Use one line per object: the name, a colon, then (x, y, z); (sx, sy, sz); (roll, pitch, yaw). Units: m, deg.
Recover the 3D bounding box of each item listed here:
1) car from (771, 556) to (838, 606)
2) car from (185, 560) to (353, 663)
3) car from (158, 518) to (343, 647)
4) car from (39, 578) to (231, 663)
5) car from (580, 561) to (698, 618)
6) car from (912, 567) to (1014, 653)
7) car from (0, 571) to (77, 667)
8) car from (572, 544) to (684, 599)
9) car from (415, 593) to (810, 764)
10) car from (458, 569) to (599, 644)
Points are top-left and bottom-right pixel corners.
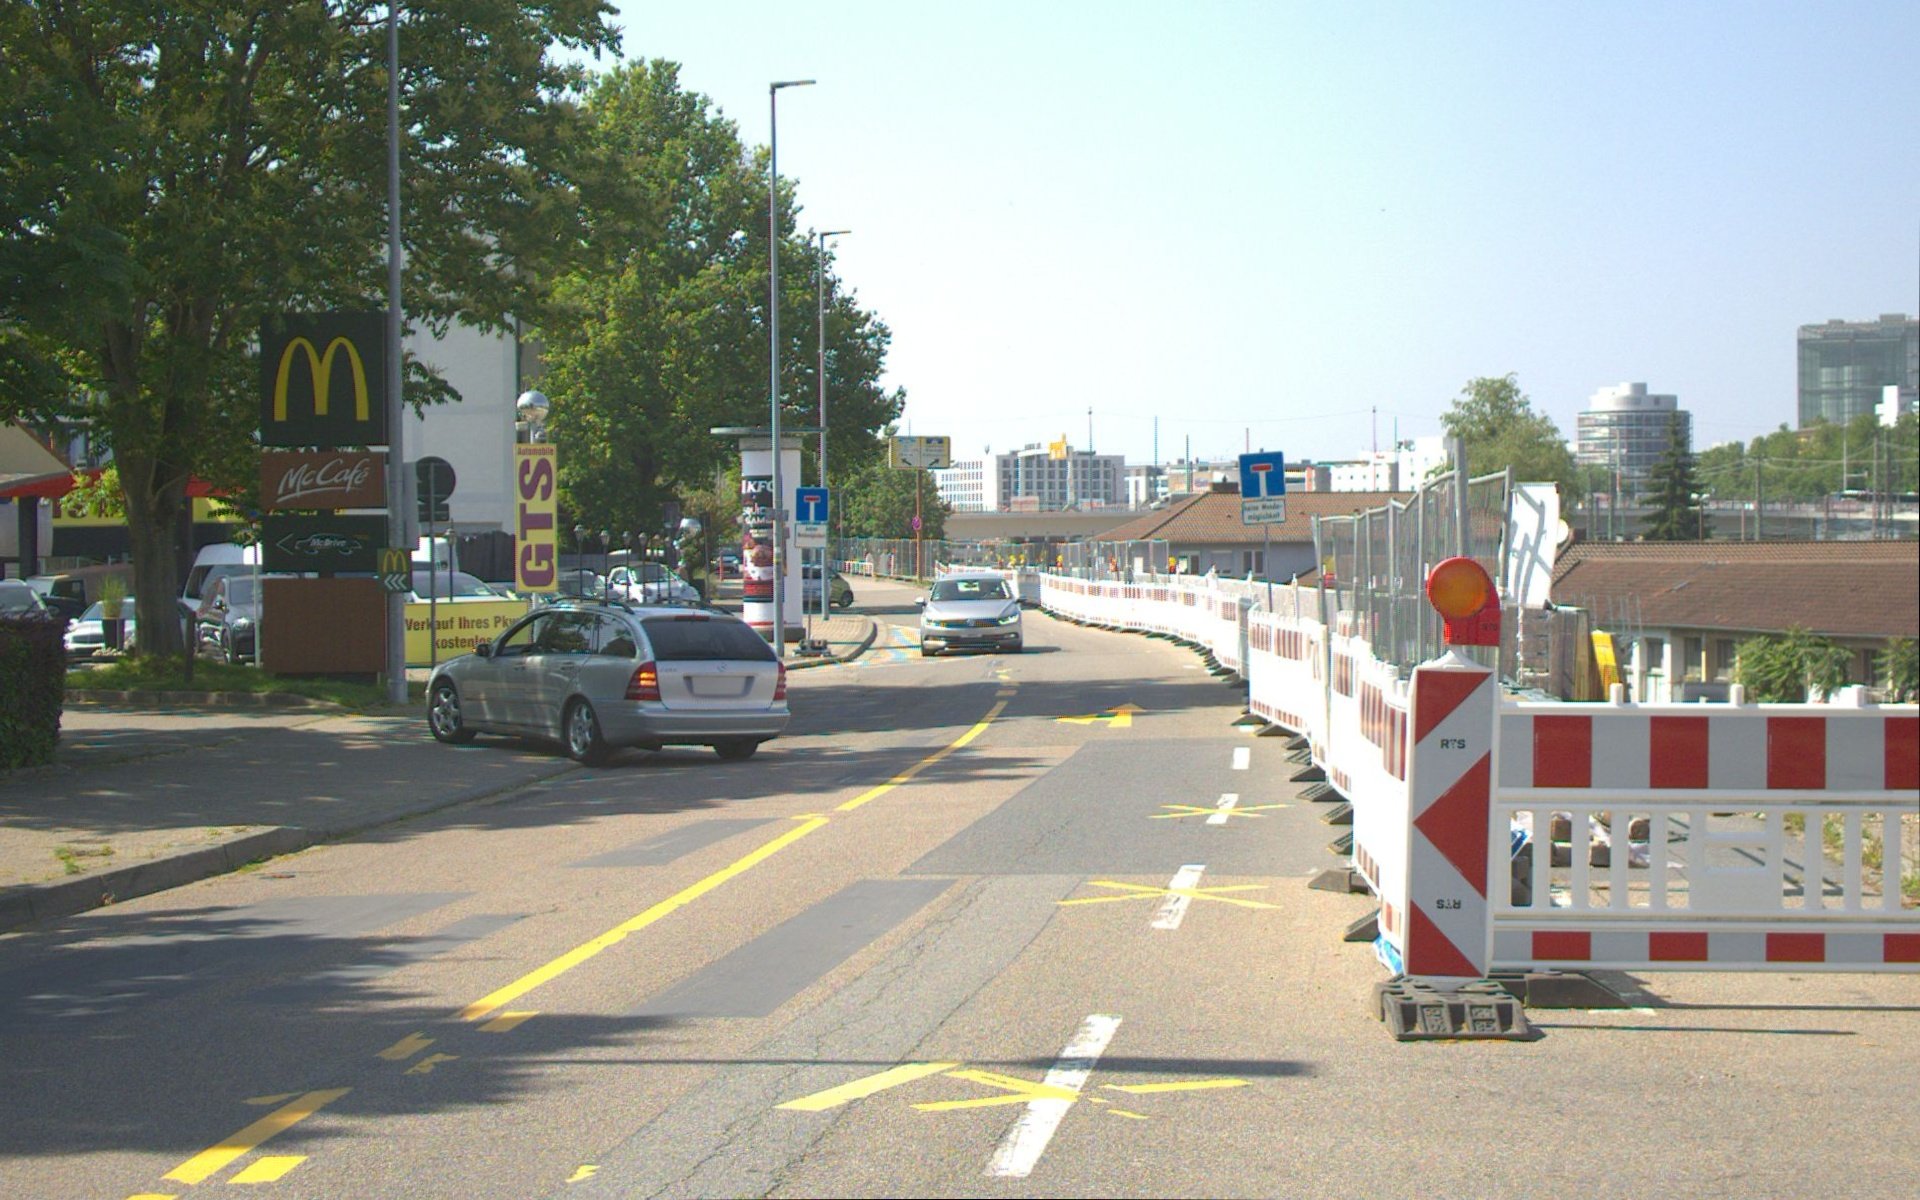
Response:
car: (-5.056, -0.627, 112.396); (1.869, 1.493, 4.032); (-2, 2, 2)
car: (-12.537, 0.237, 62.176); (2.042, 1.701, 4.315); (-2, -1, -24)
car: (-15.957, -0.383, 77.680); (2.277, 2.748, 6.151); (-1, 0, 6)
car: (-16.576, 0.387, 69.304); (1.909, 1.569, 4.685); (-1, 1, 12)
car: (-9.039, -0.290, 96.567); (1.776, 1.468, 4.000); (-4, 1, -29)
car: (0.017, 0.150, 63.566); (1.677, 1.488, 4.606); (-1, 1, -2)
car: (-17.601, 0.346, 63.035); (1.804, 1.650, 4.315); (-3, 1, -26)
car: (-11.979, -1.042, 124.035); (3.922, 1.952, 1.760); (0, 1, -8)
car: (-3.214, 0.671, 31.012); (1.708, 1.399, 4.386); (-1, 0, -33)
car: (-9.354, 0.141, 74.238); (1.836, 1.468, 4.001); (-4, 1, -24)
